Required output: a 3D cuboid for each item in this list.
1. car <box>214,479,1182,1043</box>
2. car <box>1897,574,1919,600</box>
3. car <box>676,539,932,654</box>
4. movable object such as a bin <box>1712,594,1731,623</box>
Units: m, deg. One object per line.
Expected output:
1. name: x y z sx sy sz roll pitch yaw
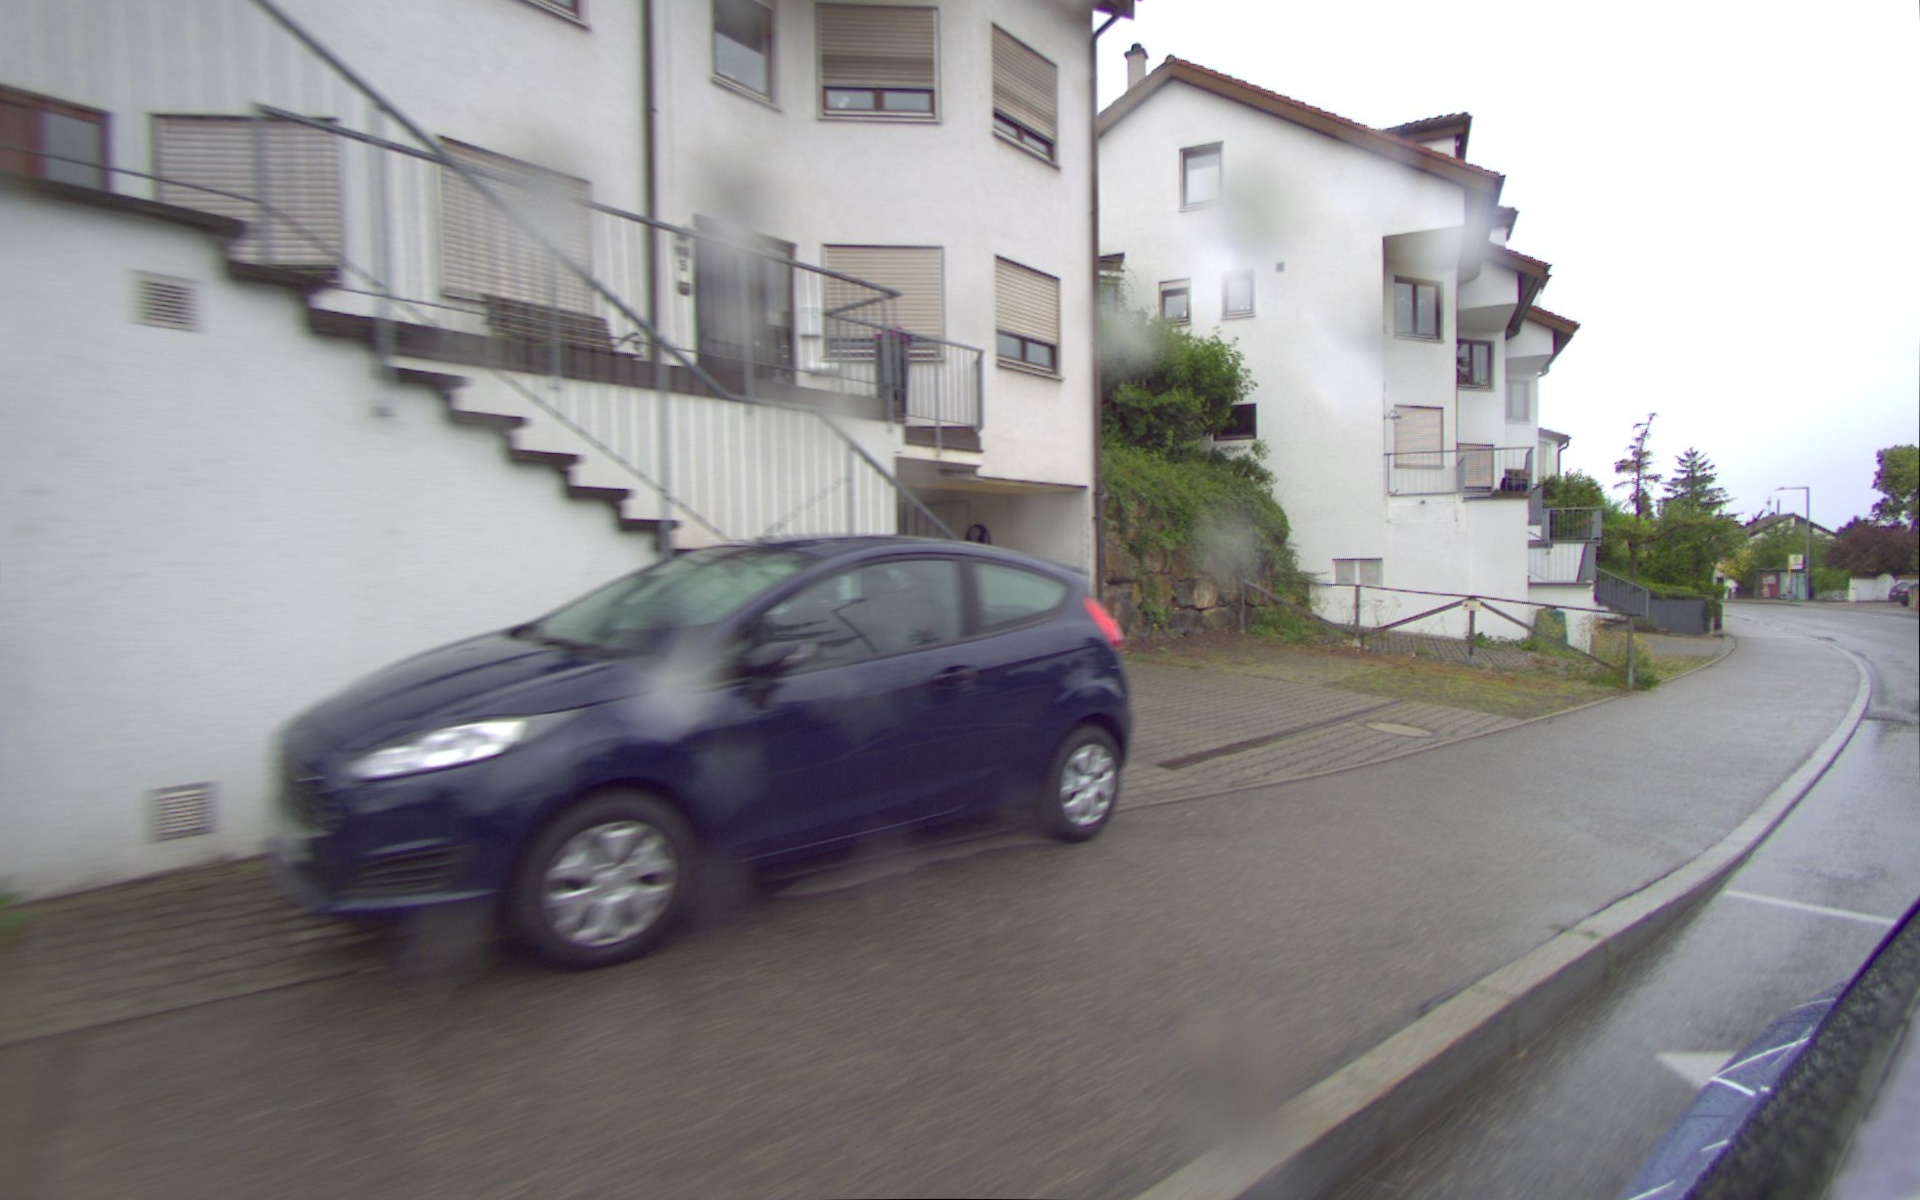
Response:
1. car: -0.845 0.350 4.622 3.955 1.471 1.707 -1 4 -44
2. car: 58.258 -0.804 59.295 4.503 1.494 1.825 -1 0 23
3. car: -2.546 -0.057 16.049 3.982 1.601 1.900 0 0 41
4. movable object such as a bin: 25.571 0.279 33.978 0.491 0.934 0.451 0 1 38
